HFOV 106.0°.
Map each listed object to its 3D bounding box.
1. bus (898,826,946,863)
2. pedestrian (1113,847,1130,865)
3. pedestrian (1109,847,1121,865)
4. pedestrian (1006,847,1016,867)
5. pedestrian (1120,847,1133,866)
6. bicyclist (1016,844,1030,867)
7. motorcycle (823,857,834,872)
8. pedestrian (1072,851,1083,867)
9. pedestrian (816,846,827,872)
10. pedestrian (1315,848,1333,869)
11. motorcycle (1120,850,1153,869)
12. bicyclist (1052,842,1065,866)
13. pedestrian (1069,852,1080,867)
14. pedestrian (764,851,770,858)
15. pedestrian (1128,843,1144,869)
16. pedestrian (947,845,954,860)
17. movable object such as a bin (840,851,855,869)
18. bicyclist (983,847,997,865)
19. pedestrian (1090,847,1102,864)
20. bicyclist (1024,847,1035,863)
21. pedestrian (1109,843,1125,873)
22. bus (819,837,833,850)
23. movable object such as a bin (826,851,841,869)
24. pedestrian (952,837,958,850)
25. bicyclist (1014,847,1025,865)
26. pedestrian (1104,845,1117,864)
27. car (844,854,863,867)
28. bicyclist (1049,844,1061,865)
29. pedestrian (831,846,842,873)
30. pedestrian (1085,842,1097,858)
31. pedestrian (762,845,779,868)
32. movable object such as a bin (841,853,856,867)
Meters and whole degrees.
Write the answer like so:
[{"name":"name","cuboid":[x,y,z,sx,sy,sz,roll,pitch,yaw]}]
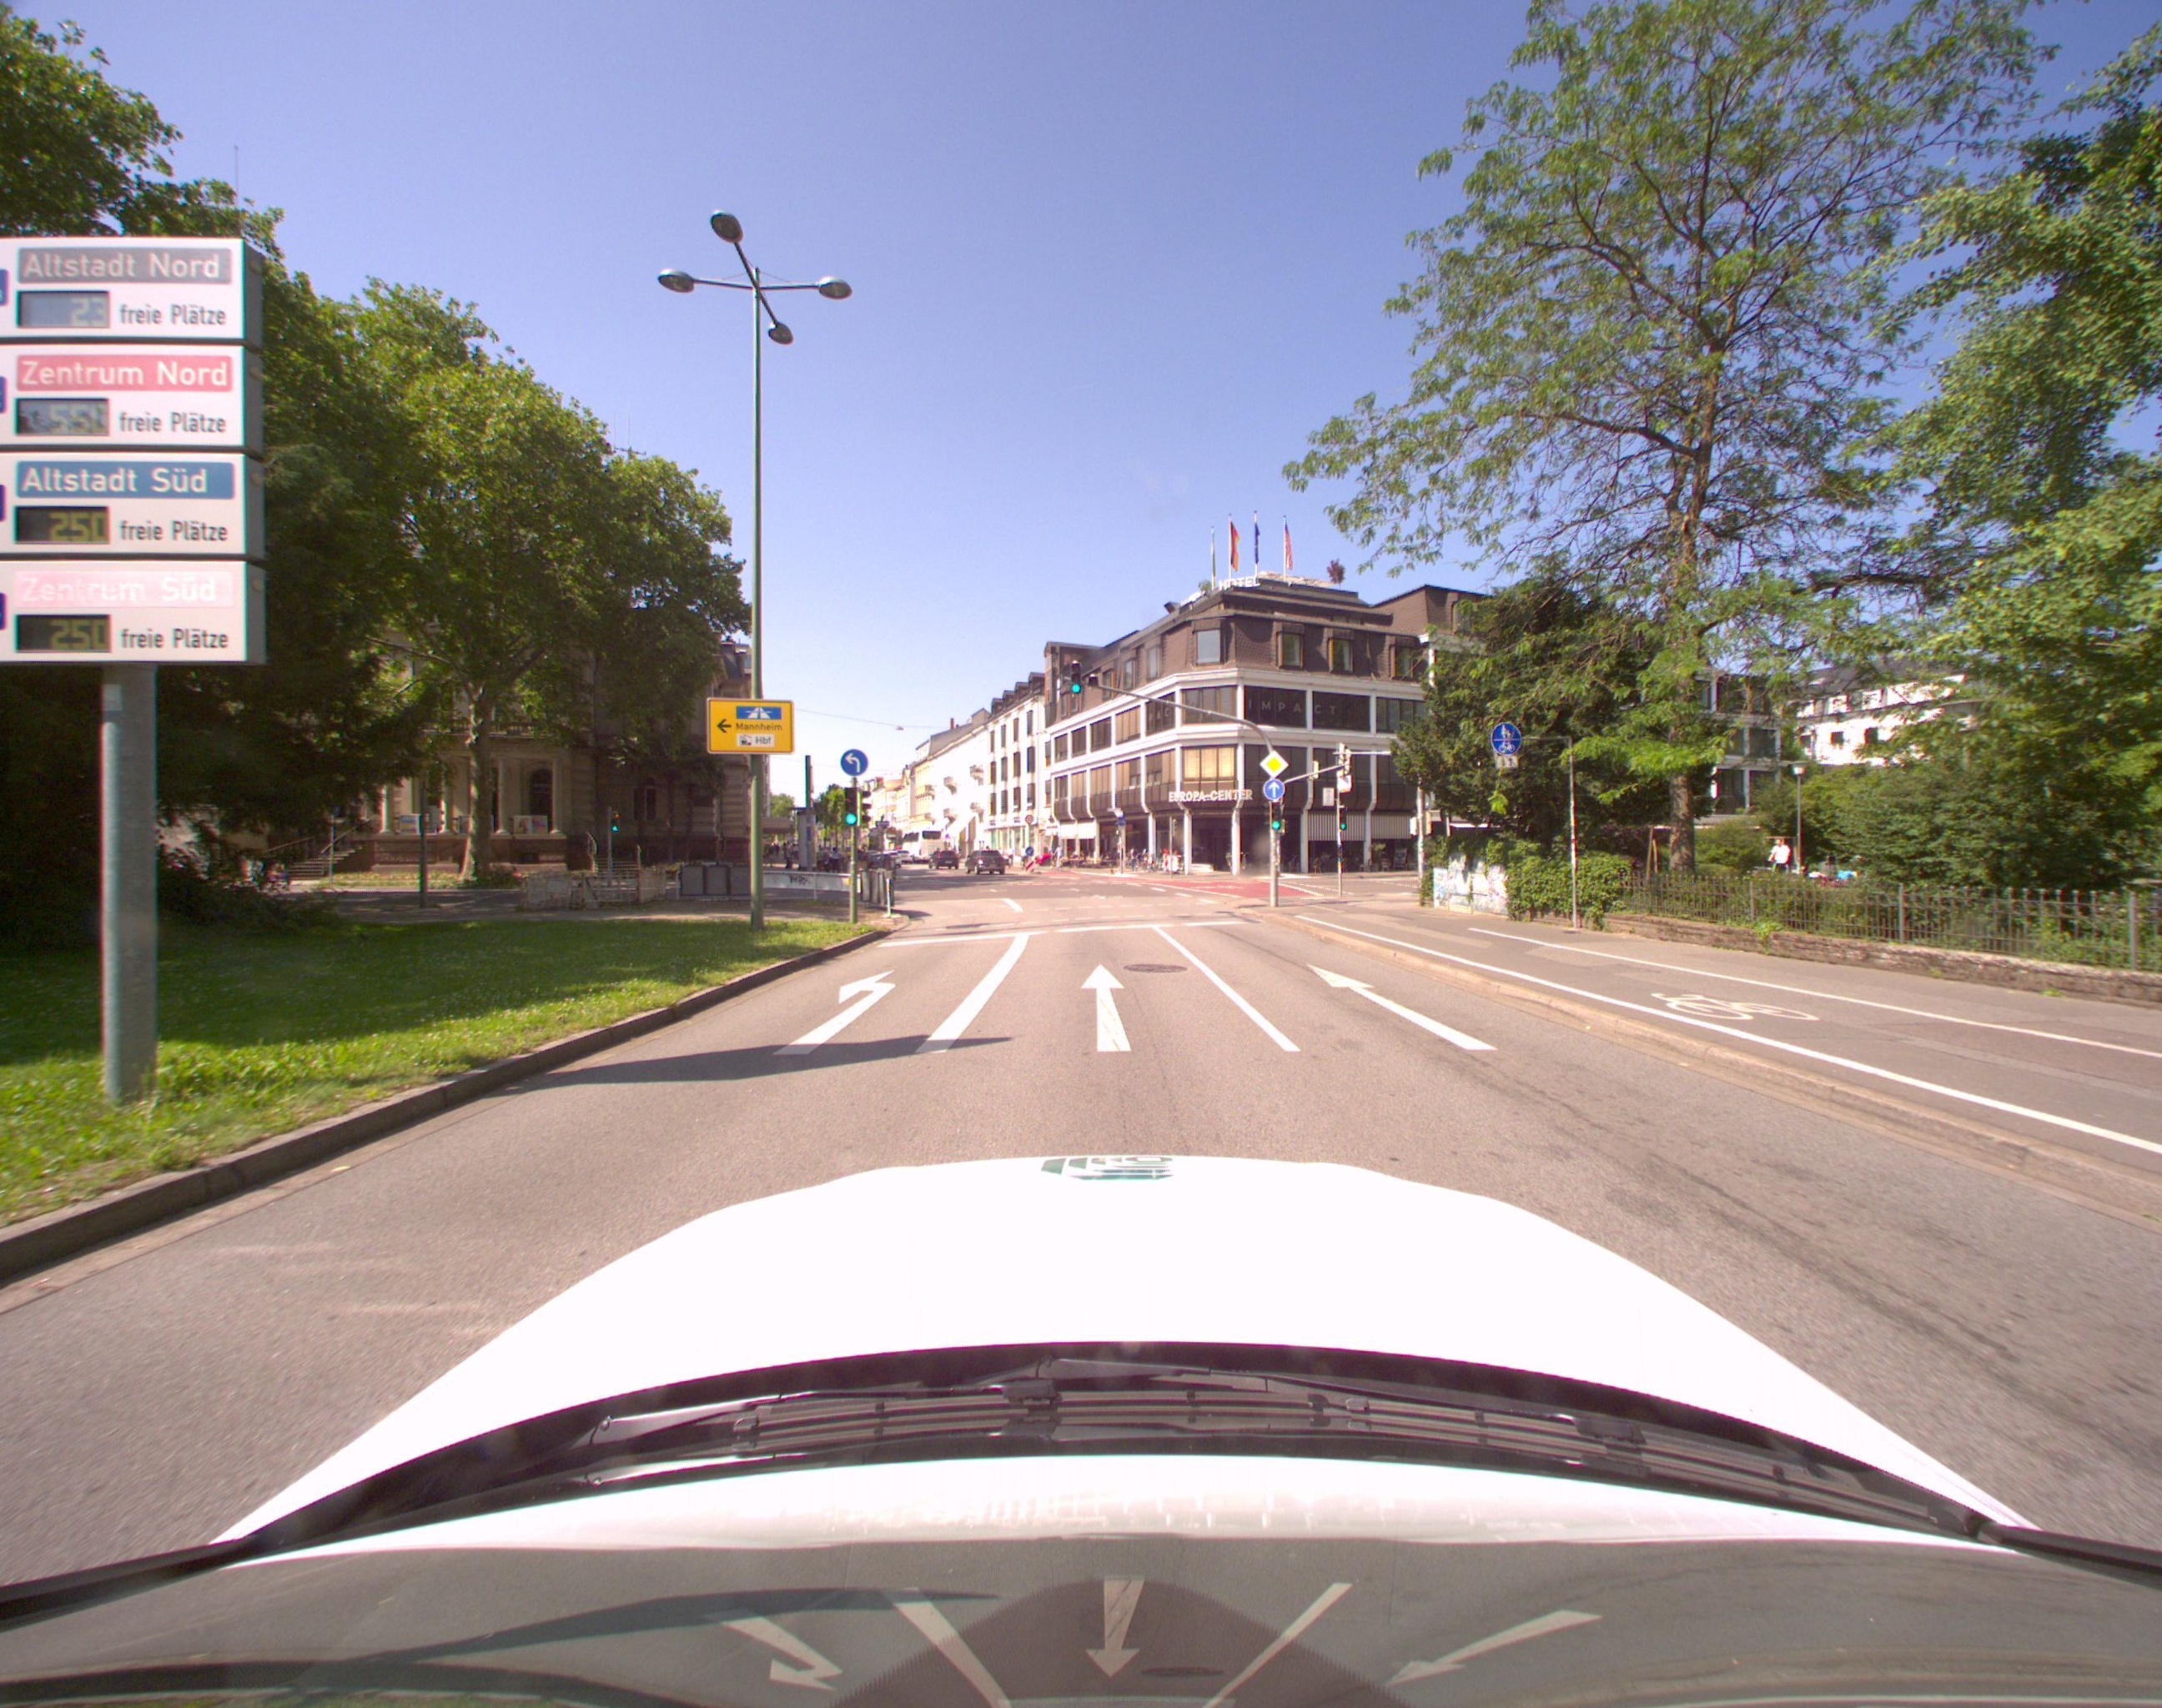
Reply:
[{"name":"bus","cuboid":[-17.529,-0.997,89.214,2.892,3.742,12.336,1,0,-22]},{"name":"pedestrian","cuboid":[3.028,0.142,60.989,0.899,1.351,1.097,-1,-1,-22]},{"name":"pedestrian","cuboid":[2.574,0.145,62.032,0.714,1.396,0.691,-1,-1,-22]},{"name":"pedestrian","cuboid":[-5.876,0.252,68.270,0.622,1.719,0.830,0,0,-20]},{"name":"pedestrian","cuboid":[3.383,0.213,60.103,0.714,1.396,0.691,-1,-1,-22]},{"name":"bicyclist","cuboid":[-4.216,0.115,59.197,0.697,1.673,0.910,2,1,-20]},{"name":"motorcycle","cuboid":[-16.423,0.676,53.020,0.454,0.998,2.152,1,-1,-11]},{"name":"pedestrian","cuboid":[-0.255,0.393,61.443,0.712,1.217,0.694,-1,-1,-12]},{"name":"pedestrian","cuboid":[-16.849,0.329,52.878,0.549,1.665,0.933,-1,-1,-12]},{"name":"pedestrian","cuboid":[15.098,0.273,50.592,0.818,1.334,0.978,0,0,33]},{"name":"motorcycle","cuboid":[3.856,0.389,56.456,2.224,1.290,0.950,-1,-1,7]},{"name":"bicyclist","cuboid":[-1.537,0.016,55.977,0.695,1.625,0.832,-1,0,-12]},{"name":"pedestrian","cuboid":[-0.526,0.430,62.250,0.712,1.173,0.694,-1,-1,-12]},{"name":"pedestrian","cuboid":[-39.326,0.054,101.923,0.567,0.809,0.769,5,-1,-21]},{"name":"pedestrian","cuboid":[3.590,0.162,52.852,0.833,1.663,0.694,-1,-1,-13]},{"name":"pedestrian","cuboid":[-15.624,-0.125,97.377,0.575,1.778,1.013,-1,-1,-18]},{"name":"movable object such as a bin","cuboid":[-19.408,0.483,67.811,1.125,1.450,1.431,1,1,-15]},{"name":"bicyclist","cuboid":[-8.336,0.170,74.468,0.986,1.599,1.048,0,0,-21]},{"name":"pedestrian","cuboid":[1.211,0.116,66.535,0.880,1.367,0.533,-1,0,-22]},{"name":"bicyclist","cuboid":[-4.045,0.082,64.429,0.623,1.296,0.860,0,0,-22]},{"name":"pedestrian","cuboid":[2.212,0.250,50.131,0.833,1.835,0.694,-1,-1,-12]},{"name":"bus","cuboid":[-70.232,-2.928,224.196,2.783,3.604,8.903,-1,1,-24]},{"name":"movable object such as a bin","cuboid":[-20.497,0.503,67.502,1.125,1.450,1.431,1,1,-15]},{"name":"pedestrian","cuboid":[-15.252,-1.248,98.611,0.647,1.617,0.817,-1,0,-18]},{"name":"bicyclist","cuboid":[-4.664,0.120,62.037,0.623,1.355,0.840,0,0,-23]},{"name":"pedestrian","cuboid":[2.277,0.041,62.818,0.816,1.396,0.691,-1,-1,-23]},{"name":"car","cuboid":[-27.734,0.805,99.323,1.870,1.441,3.971,-1,-1,-21]},{"name":"bicyclist","cuboid":[-1.897,0.008,59.172,0.621,1.529,0.864,0,0,-16]},{"name":"pedestrian","cuboid":[-15.817,0.342,52.673,0.696,1.695,0.686,-1,-1,-18]},{"name":"pedestrian","cuboid":[0.829,-0.339,67.455,0.747,1.367,0.580,-1,0,-22]},{"name":"pedestrian","cuboid":[-24.628,0.177,64.655,0.777,1.773,1.006,0,0,17]},{"name":"movable object such as a bin","cuboid":[-21.201,0.531,74.275,1.282,1.299,0.847,0,0,-21]}]
